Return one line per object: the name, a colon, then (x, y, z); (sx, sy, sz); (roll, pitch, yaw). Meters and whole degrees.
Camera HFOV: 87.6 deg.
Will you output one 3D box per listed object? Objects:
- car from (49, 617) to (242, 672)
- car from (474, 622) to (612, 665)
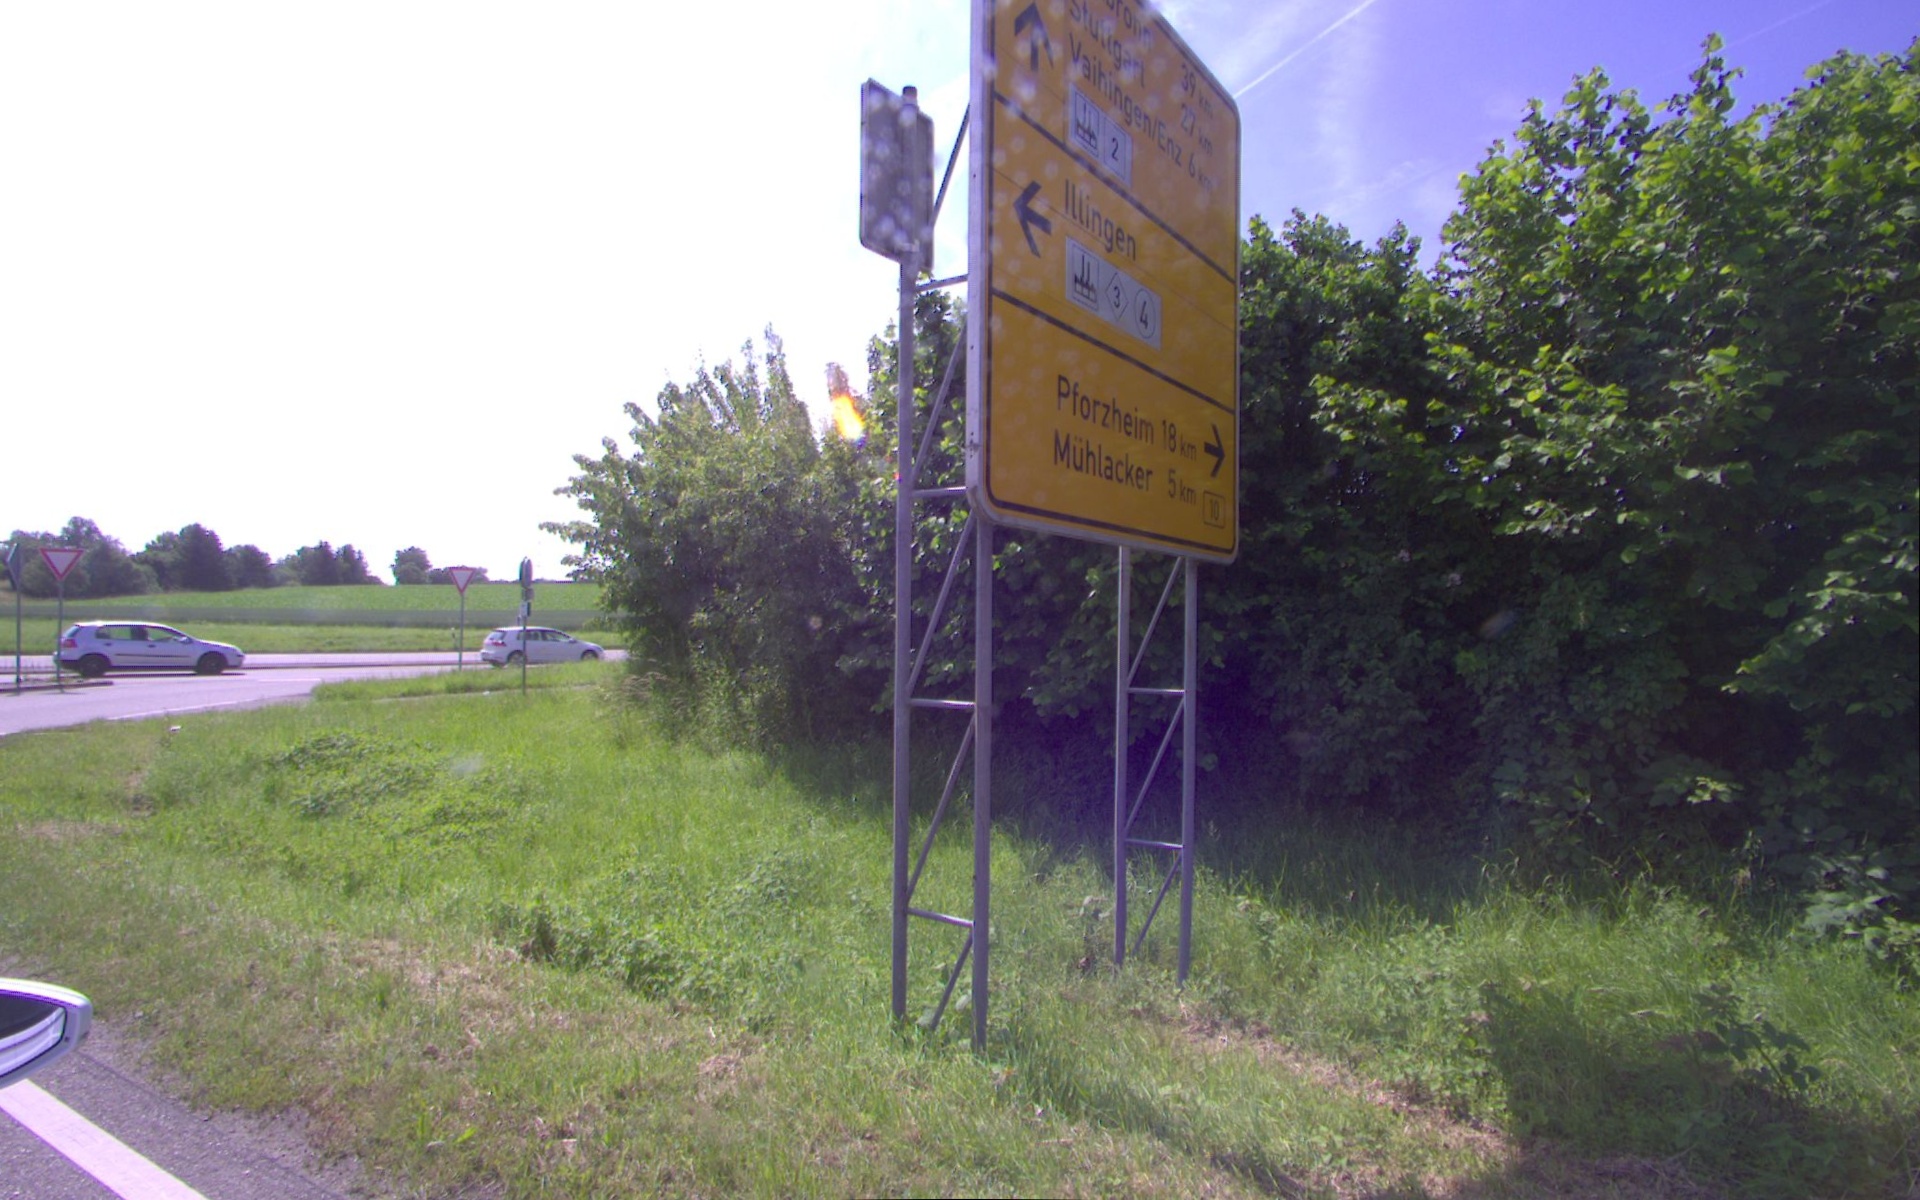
car: (-22.806, 1.225, 28.143); (1.775, 1.435, 4.014); (0, -2, 43)
car: (-14.946, 1.546, 36.033); (1.791, 1.479, 4.222); (-1, -2, 44)
